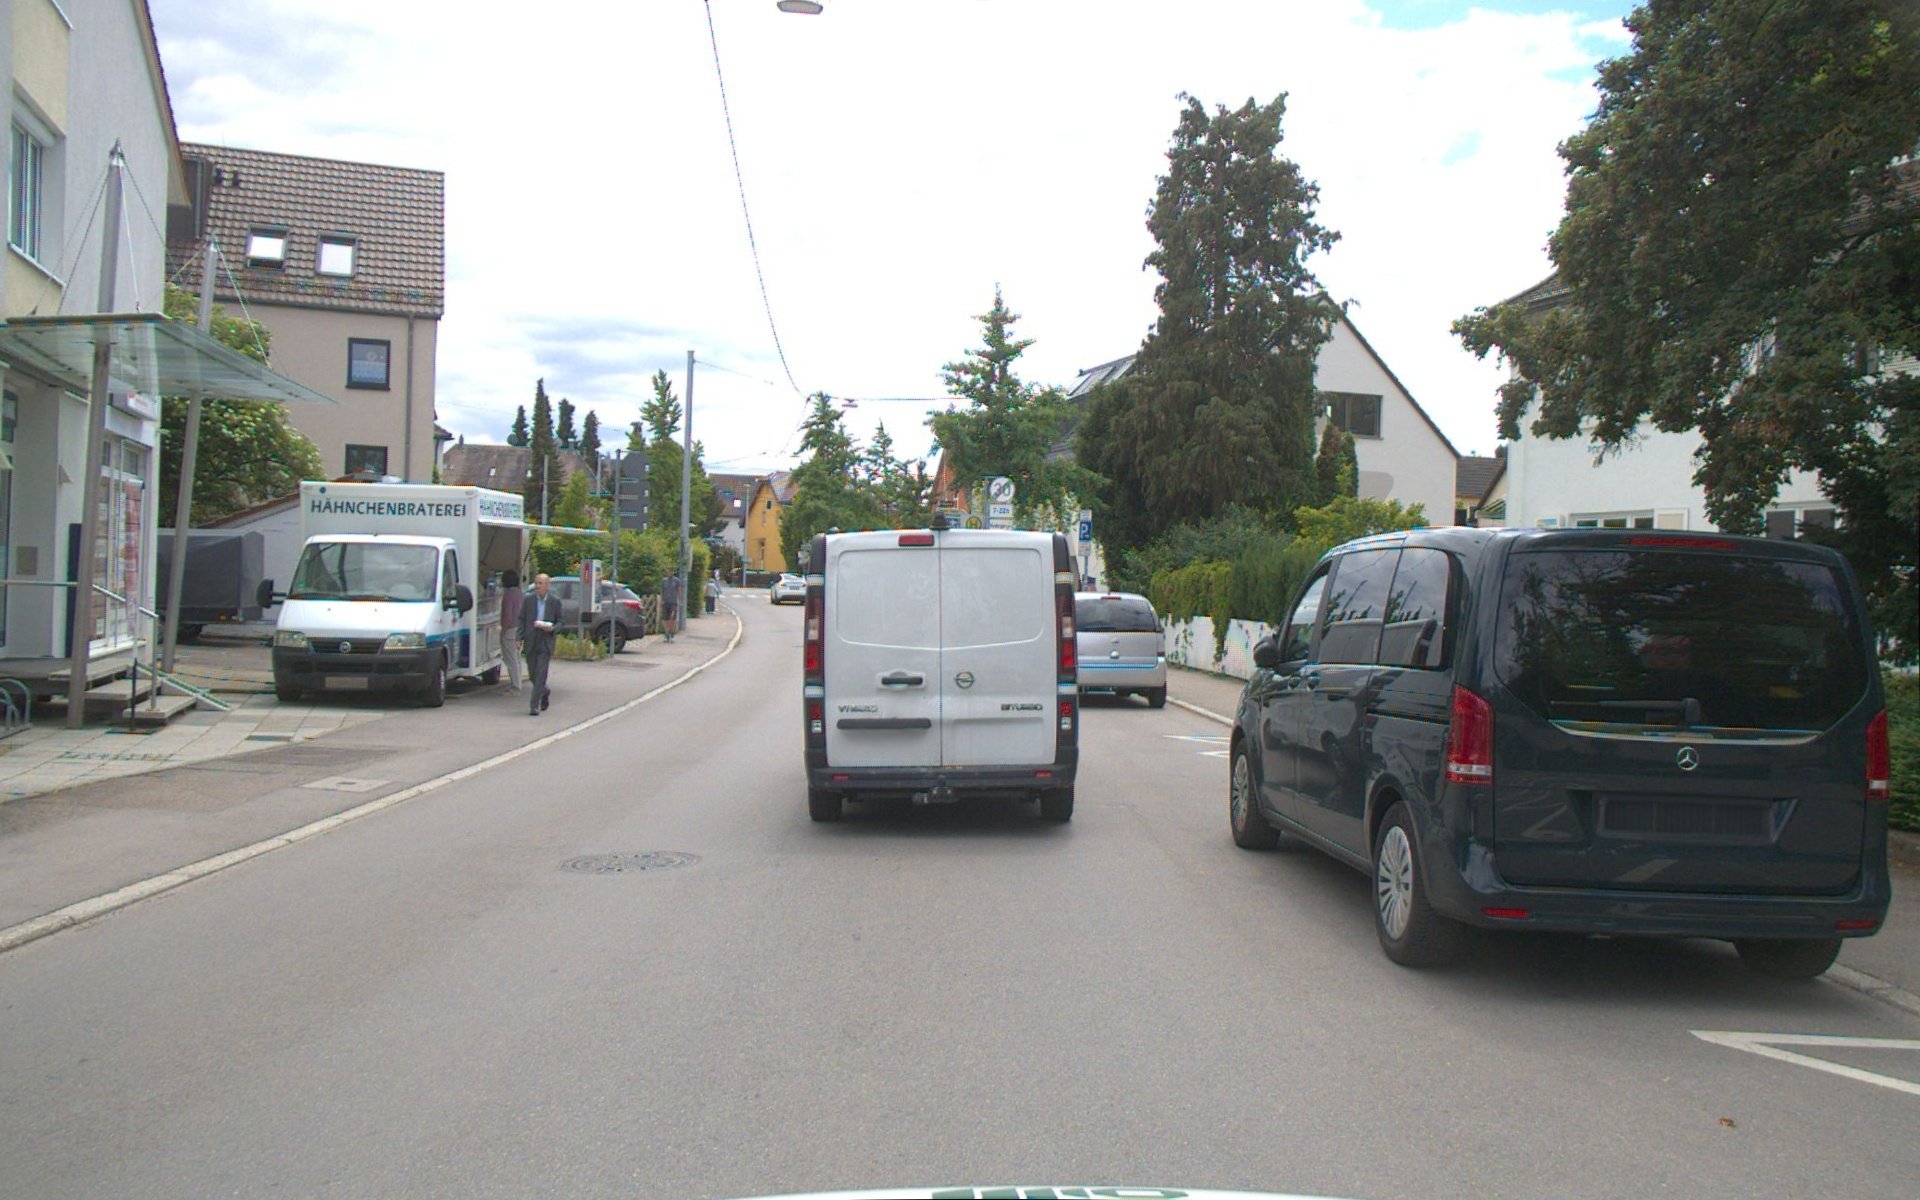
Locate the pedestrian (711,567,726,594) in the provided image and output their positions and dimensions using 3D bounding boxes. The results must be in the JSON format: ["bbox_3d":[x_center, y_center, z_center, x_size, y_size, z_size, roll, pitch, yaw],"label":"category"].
[{"bbox_3d":[-15.035,-1.227,102.977,0.791,1.637,0.625,4,0,-14],"label":"pedestrian"}]

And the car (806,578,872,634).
[{"bbox_3d":[-4.343,0.197,58.951,1.957,1.880,3.991,1,0,-10],"label":"car"}]

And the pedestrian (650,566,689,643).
[{"bbox_3d":[-7.785,0.121,44.383,0.718,1.979,1.217,3,0,-1],"label":"pedestrian"}]

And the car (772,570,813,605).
[{"bbox_3d":[-9.085,-0.690,89.336,1.957,1.813,3.991,0,0,-10],"label":"car"}]

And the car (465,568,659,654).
[{"bbox_3d":[-9.364,0.260,38.930,4.242,1.725,1.790,4,0,-17],"label":"car"}]

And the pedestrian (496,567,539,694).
[{"bbox_3d":[-6.151,0.420,22.993,0.393,1.724,0.596,3,0,-7],"label":"pedestrian"}]

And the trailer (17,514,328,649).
[{"bbox_3d":[-14.401,-0.343,30.486,4.771,2.116,1.701,4,1,-8],"label":"trailer"}]

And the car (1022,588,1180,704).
[{"bbox_3d":[2.035,0.637,24.983,1.725,1.610,4.014,0,0,-5],"label":"car"}]

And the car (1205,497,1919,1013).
[{"bbox_3d":[2.712,0.588,8.797,1.870,1.880,5.156,2,0,-2],"label":"car"}]

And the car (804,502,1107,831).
[{"bbox_3d":[-0.185,0.426,12.557,1.878,2.038,4.433,1,0,-4],"label":"car"}]

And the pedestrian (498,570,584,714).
[{"bbox_3d":[-5.223,0.515,20.682,0.708,1.716,1.109,3,0,-1],"label":"pedestrian"}]

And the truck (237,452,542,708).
[{"bbox_3d":[-7.451,-0.238,22.542,2.425,2.890,6.698,2,0,-6],"label":"truck"}]

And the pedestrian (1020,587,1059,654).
[{"bbox_3d":[2.076,0.536,43.348,0.837,1.674,0.883,3,0,-4],"label":"pedestrian"}]

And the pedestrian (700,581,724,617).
[{"bbox_3d":[-10.799,-0.034,72.031,0.866,1.511,0.451,4,-1,-30],"label":"pedestrian"}]

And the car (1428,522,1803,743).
[{"bbox_3d":[9.261,0.412,24.004,2.454,2.728,5.169,4,0,-13],"label":"car"}]
